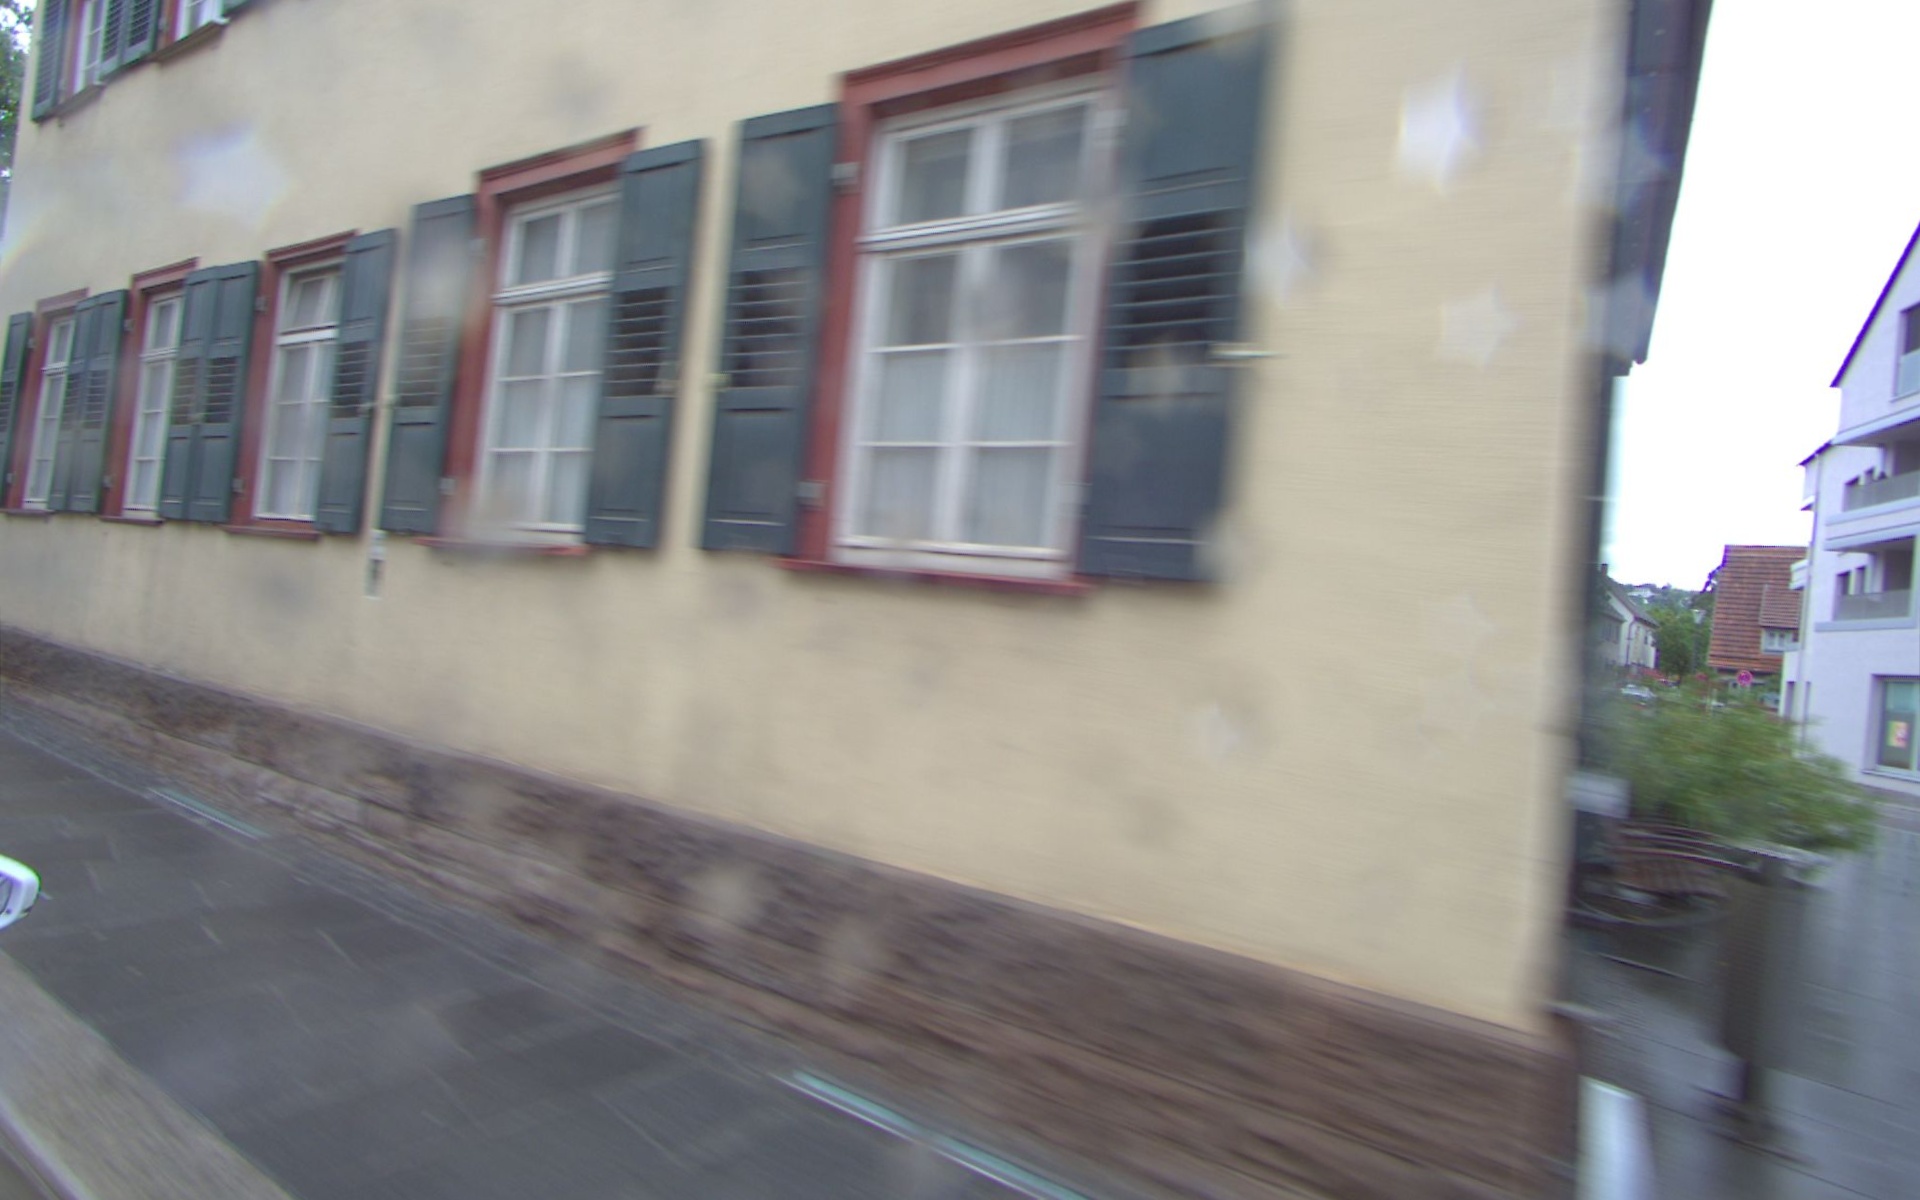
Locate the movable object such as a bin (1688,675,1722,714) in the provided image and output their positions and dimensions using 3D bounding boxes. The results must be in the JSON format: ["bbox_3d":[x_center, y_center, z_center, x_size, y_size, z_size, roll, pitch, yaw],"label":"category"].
[{"bbox_3d":[26.864,3.390,36.290,0.767,1.274,1.015,6,1,32],"label":"movable object such as a bin"}]
